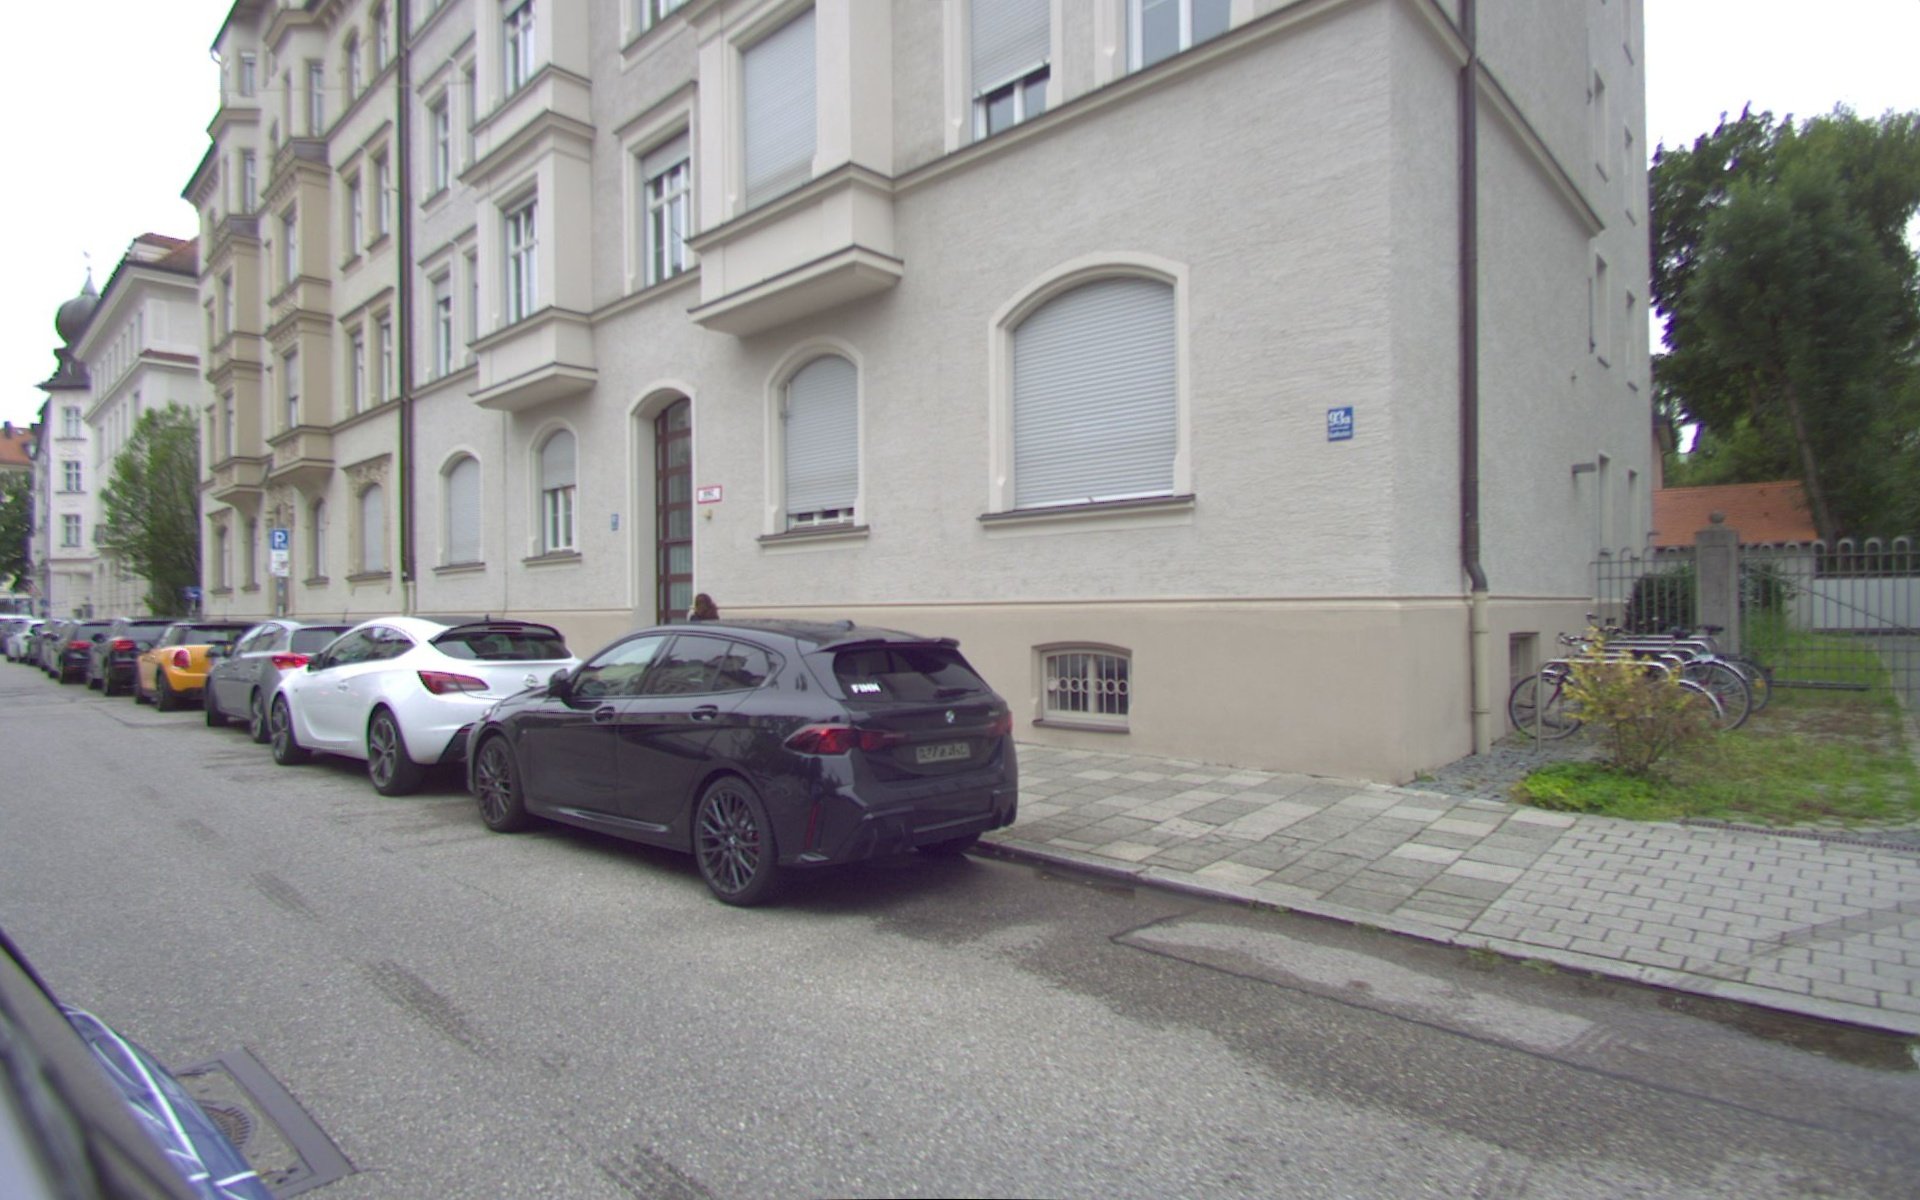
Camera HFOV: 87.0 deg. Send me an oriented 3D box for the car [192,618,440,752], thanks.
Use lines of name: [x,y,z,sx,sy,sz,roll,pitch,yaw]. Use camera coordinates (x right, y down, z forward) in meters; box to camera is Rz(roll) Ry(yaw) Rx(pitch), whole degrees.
car: [-8.434,0.979,13.121,3.938,1.474,1.785,-1,-2,43]

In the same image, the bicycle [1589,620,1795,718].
bicycle: [8.018,0.726,11.160,0.442,0.992,1.782,-1,-1,-42]

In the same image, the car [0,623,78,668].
car: [-31.132,1.501,34.114,3.687,1.440,1.606,-1,-2,41]

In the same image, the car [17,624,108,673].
car: [-27.671,1.448,31.181,3.687,1.440,1.606,-1,-2,41]

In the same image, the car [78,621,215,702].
car: [-16.330,1.159,20.248,3.942,1.467,1.605,-1,-2,43]

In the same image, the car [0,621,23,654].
car: [-46.163,1.763,48.428,3.920,1.542,1.605,-1,-2,42]

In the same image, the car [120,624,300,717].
car: [-12.641,1.090,16.985,3.730,1.373,1.785,-1,-2,43]

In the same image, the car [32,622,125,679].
car: [-24.001,1.320,27.516,3.589,1.440,1.604,-1,-2,44]

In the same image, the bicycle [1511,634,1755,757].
bicycle: [6.022,0.820,9.136,1.779,0.992,0.442,-1,-1,41]

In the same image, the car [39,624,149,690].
car: [-20.570,1.281,23.987,3.942,1.440,1.604,-1,-2,44]

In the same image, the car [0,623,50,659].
car: [-38.609,1.656,41.537,3.691,1.440,1.604,-1,-2,44]

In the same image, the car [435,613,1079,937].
car: [-1.551,0.828,6.609,4.377,1.423,1.836,-1,-3,41]

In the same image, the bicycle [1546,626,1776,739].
bicycle: [6.720,0.753,9.776,1.779,0.992,0.442,-1,-1,41]

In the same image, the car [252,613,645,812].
car: [-5.031,0.884,9.675,4.377,1.474,1.836,-1,-2,41]

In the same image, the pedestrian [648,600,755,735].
pedestrian: [-3.269,0.813,12.781,1.052,1.620,0.864,-1,-1,42]

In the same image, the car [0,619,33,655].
car: [-42.224,1.603,44.675,3.689,1.542,1.605,-1,-2,42]
